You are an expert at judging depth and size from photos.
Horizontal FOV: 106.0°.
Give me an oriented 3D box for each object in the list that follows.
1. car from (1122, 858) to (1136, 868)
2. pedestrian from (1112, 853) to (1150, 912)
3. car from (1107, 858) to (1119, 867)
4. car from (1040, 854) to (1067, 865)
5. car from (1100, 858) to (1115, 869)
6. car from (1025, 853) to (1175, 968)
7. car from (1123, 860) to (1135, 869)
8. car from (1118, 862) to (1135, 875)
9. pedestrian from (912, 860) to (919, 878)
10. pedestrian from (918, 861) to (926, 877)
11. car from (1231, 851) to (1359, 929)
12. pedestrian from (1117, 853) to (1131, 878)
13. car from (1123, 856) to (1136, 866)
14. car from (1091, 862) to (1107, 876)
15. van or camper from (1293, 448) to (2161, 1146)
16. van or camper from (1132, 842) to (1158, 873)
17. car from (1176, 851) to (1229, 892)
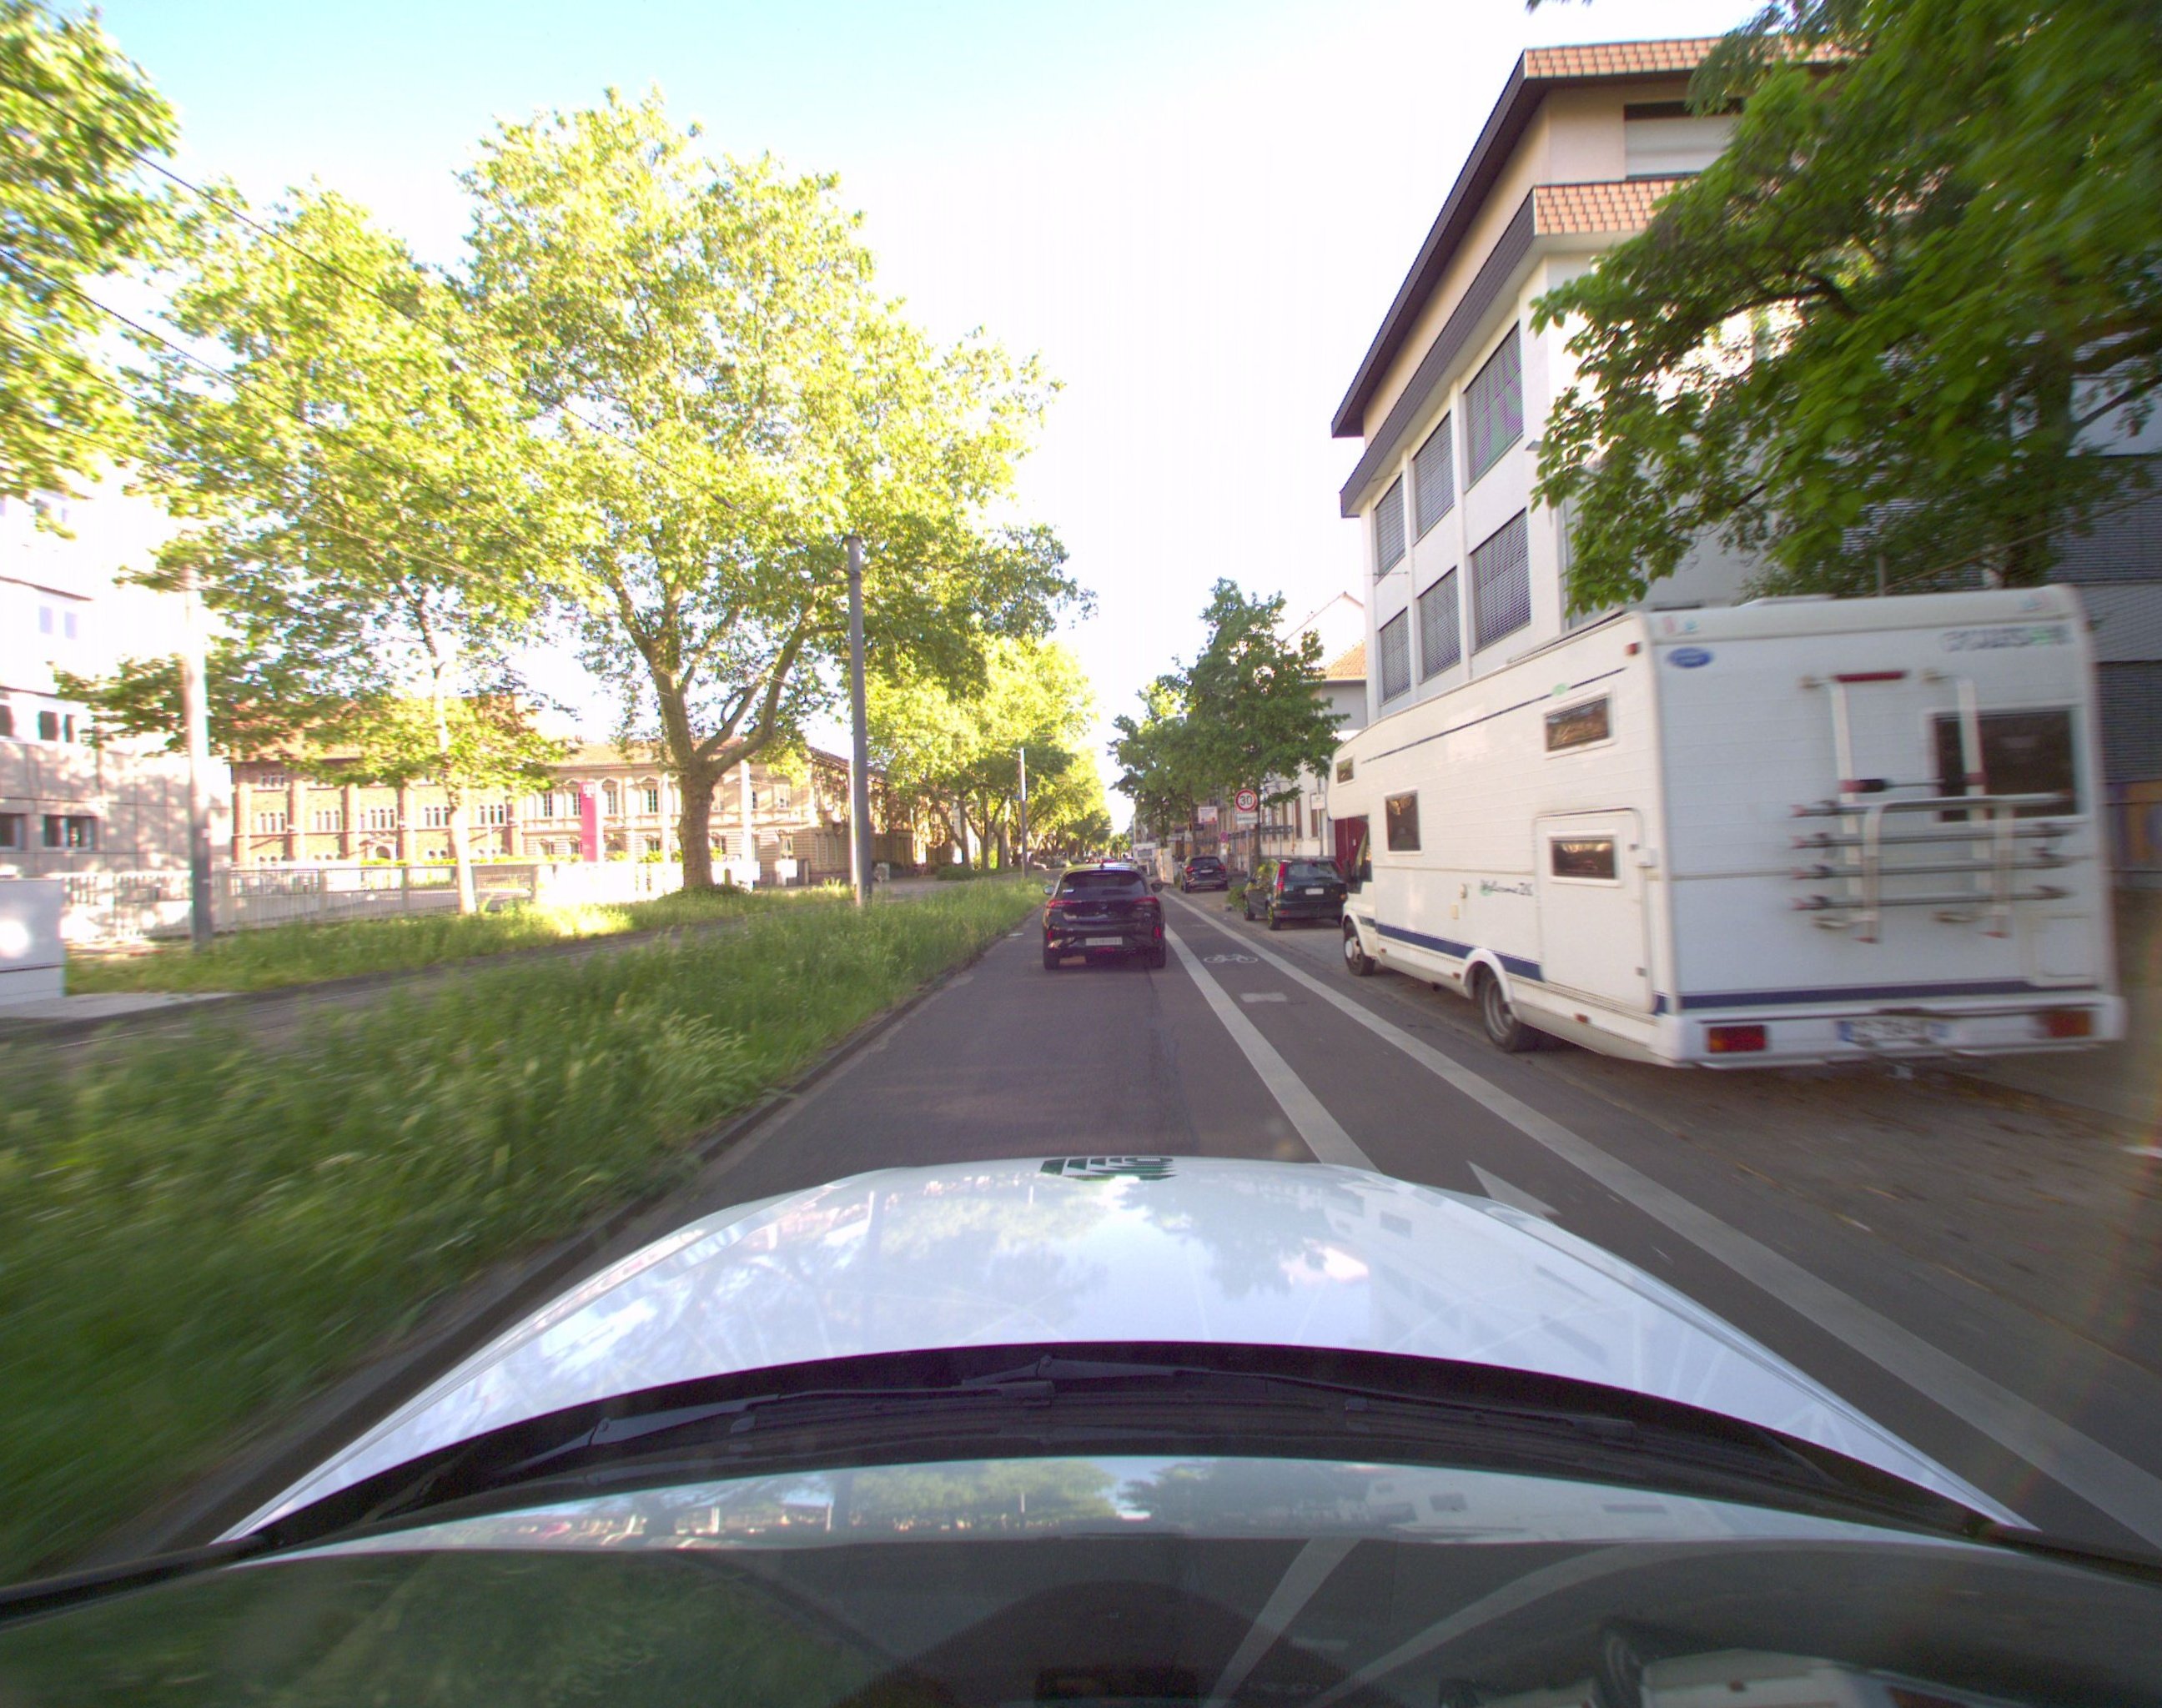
[{"bbox_3d":[6.855,1.260,115.016,1.897,1.425,4.219,-2,0,4],"label":"car"},{"bbox_3d":[1.369,0.773,22.631,0.966,1.562,0.972,-2,-1,1],"label":"pedestrian"},{"bbox_3d":[5.586,1.420,140.394,1.897,1.425,4.219,-2,0,4],"label":"car"},{"bbox_3d":[-6.024,1.266,177.486,5.665,2.198,2.290,-2,-1,2],"label":"car"},{"bbox_3d":[3.746,1.373,114.650,1.897,1.425,4.219,-2,0,4],"label":"car"},{"bbox_3d":[0.378,0.731,12.702,1.897,1.425,4.219,-2,0,4],"label":"car"},{"bbox_3d":[8.220,1.764,138.380,1.897,1.425,4.219,-2,0,4],"label":"car"},{"bbox_3d":[5.318,1.677,95.510,1.897,1.425,4.219,-2,0,4],"label":"car"},{"bbox_3d":[-16.861,1.527,82.855,0.616,1.733,0.596,0,0,1],"label":"pedestrian"},{"bbox_3d":[-16.198,1.527,82.841,0.656,1.622,0.616,0,0,1],"label":"pedestrian"},{"bbox_3d":[4.483,0.695,17.651,1.680,1.420,4.048,-3,0,0],"label":"car"},{"bbox_3d":[3.656,0.988,69.256,1.032,2.024,1.213,-2,0,1],"label":"pedestrian"},{"bbox_3d":[7.608,1.135,127.357,1.897,1.425,4.219,-2,0,4],"label":"car"},{"bbox_3d":[2.267,1.858,100.160,1.783,1.510,3.877,-4,0,3],"label":"car"},{"bbox_3d":[4.175,-0.260,7.648,2.367,3.125,7.553,-5,0,2],"label":"van or camper"},{"bbox_3d":[6.353,0.342,80.929,2.475,2.993,5.439,0,0,4],"label":"van or camper"},{"bbox_3d":[5.102,0.714,34.620,1.783,1.510,3.877,-4,0,3],"label":"car"}]
